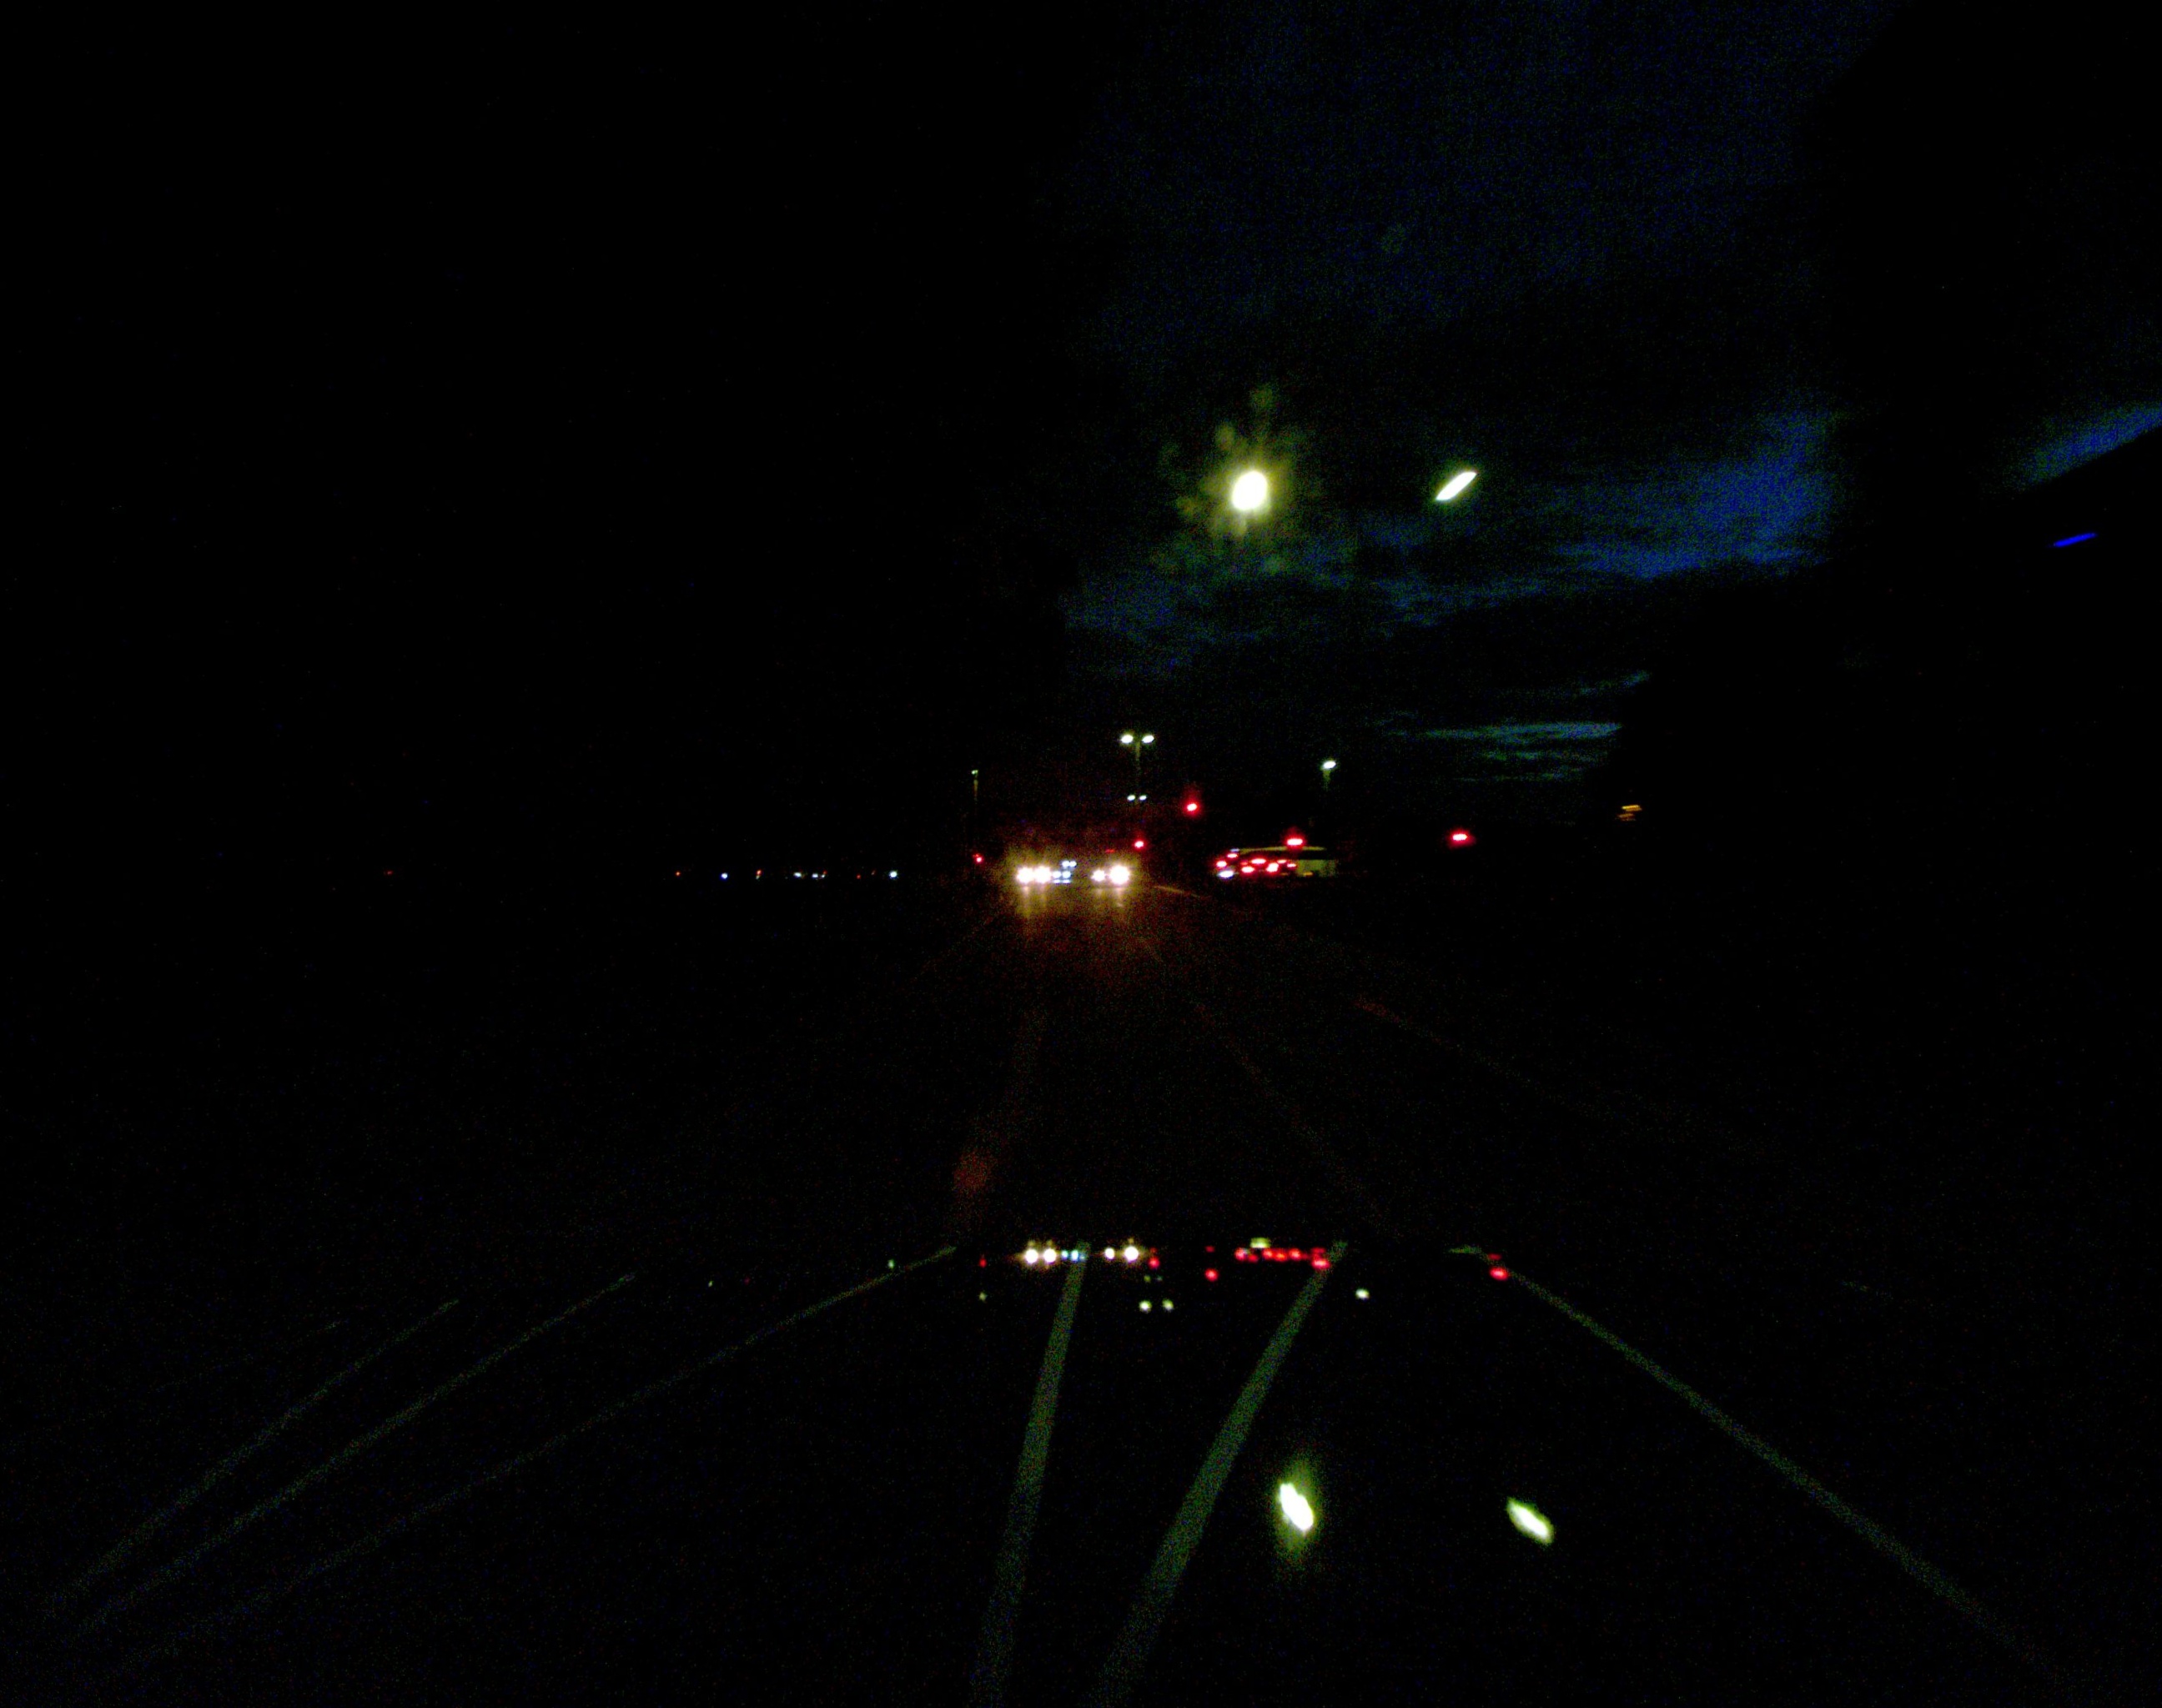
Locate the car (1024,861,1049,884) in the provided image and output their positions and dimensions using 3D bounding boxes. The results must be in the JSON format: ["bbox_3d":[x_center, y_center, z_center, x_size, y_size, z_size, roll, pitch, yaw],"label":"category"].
[{"bbox_3d":[-3.091,1.265,52.919,1.670,1.471,3.775,-2,-1,-3],"label":"car"}]

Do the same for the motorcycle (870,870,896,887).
[{"bbox_3d":[-13.697,1.683,52.585,1.579,1.028,0.721,-5,4,-28],"label":"motorcycle"}]

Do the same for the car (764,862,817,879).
[{"bbox_3d":[-27.236,1.554,71.296,4.358,1.616,1.752,0,-1,3],"label":"car"}]

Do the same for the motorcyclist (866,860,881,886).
[{"bbox_3d":[-14.522,1.315,53.198,0.791,1.750,0.682,-4,4,-34],"label":"motorcyclist"}]

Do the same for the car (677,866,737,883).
[{"bbox_3d":[-33.272,1.808,67.657,4.393,1.381,1.838,-1,-1,2],"label":"car"}]

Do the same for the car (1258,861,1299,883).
[{"bbox_3d":[13.240,1.203,51.150,1.773,1.438,3.782,0,-1,1],"label":"car"}]

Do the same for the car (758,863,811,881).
[{"bbox_3d":[-26.363,1.586,67.620,3.996,1.515,1.838,0,0,2],"label":"car"}]

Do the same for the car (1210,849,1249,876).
[{"bbox_3d":[10.229,0.615,52.670,1.848,1.803,4.776,0,-1,1],"label":"car"}]

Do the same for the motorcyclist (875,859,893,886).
[{"bbox_3d":[-13.628,1.277,52.562,0.871,1.799,0.914,-5,4,-28],"label":"motorcyclist"}]

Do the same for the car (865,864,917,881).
[{"bbox_3d":[-18.581,1.794,74.533,4.581,1.623,1.858,0,-1,2],"label":"car"}]

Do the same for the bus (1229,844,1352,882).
[{"bbox_3d":[22.172,0.980,80.823,12.267,3.766,2.616,-1,-2,-1],"label":"bus"}]

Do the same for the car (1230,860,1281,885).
[{"bbox_3d":[10.204,1.063,44.883,1.876,1.389,4.838,-1,-1,0],"label":"car"}]

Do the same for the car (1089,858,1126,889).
[{"bbox_3d":[1.521,1.146,44.957,1.670,1.643,4.410,-2,-1,-4],"label":"car"}]

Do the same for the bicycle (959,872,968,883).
[{"bbox_3d":[-12.395,2.468,80.096,0.695,1.094,2.068,0,-1,-4],"label":"bicycle"}]

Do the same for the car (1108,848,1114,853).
[{"bbox_3d":[9.888,-1.116,251.706,1.739,1.563,4.058,-2,0,-3],"label":"car"}]

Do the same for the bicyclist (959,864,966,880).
[{"bbox_3d":[-12.435,1.884,79.869,0.603,1.641,1.000,0,-1,-4],"label":"bicyclist"}]

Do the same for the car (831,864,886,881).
[{"bbox_3d":[-19.726,1.657,67.464,4.286,1.437,1.787,0,-2,3],"label":"car"}]

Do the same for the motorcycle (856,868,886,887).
[{"bbox_3d":[-14.661,1.638,53.081,1.824,1.175,0.847,-4,4,-34],"label":"motorcycle"}]

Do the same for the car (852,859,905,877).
[{"bbox_3d":[-18.889,1.348,71.065,4.415,1.672,1.915,0,-2,3],"label":"car"}]

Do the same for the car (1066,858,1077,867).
[{"bbox_3d":[-1.826,1.683,148.473,1.697,1.586,3.928,-1,-2,7],"label":"car"}]
